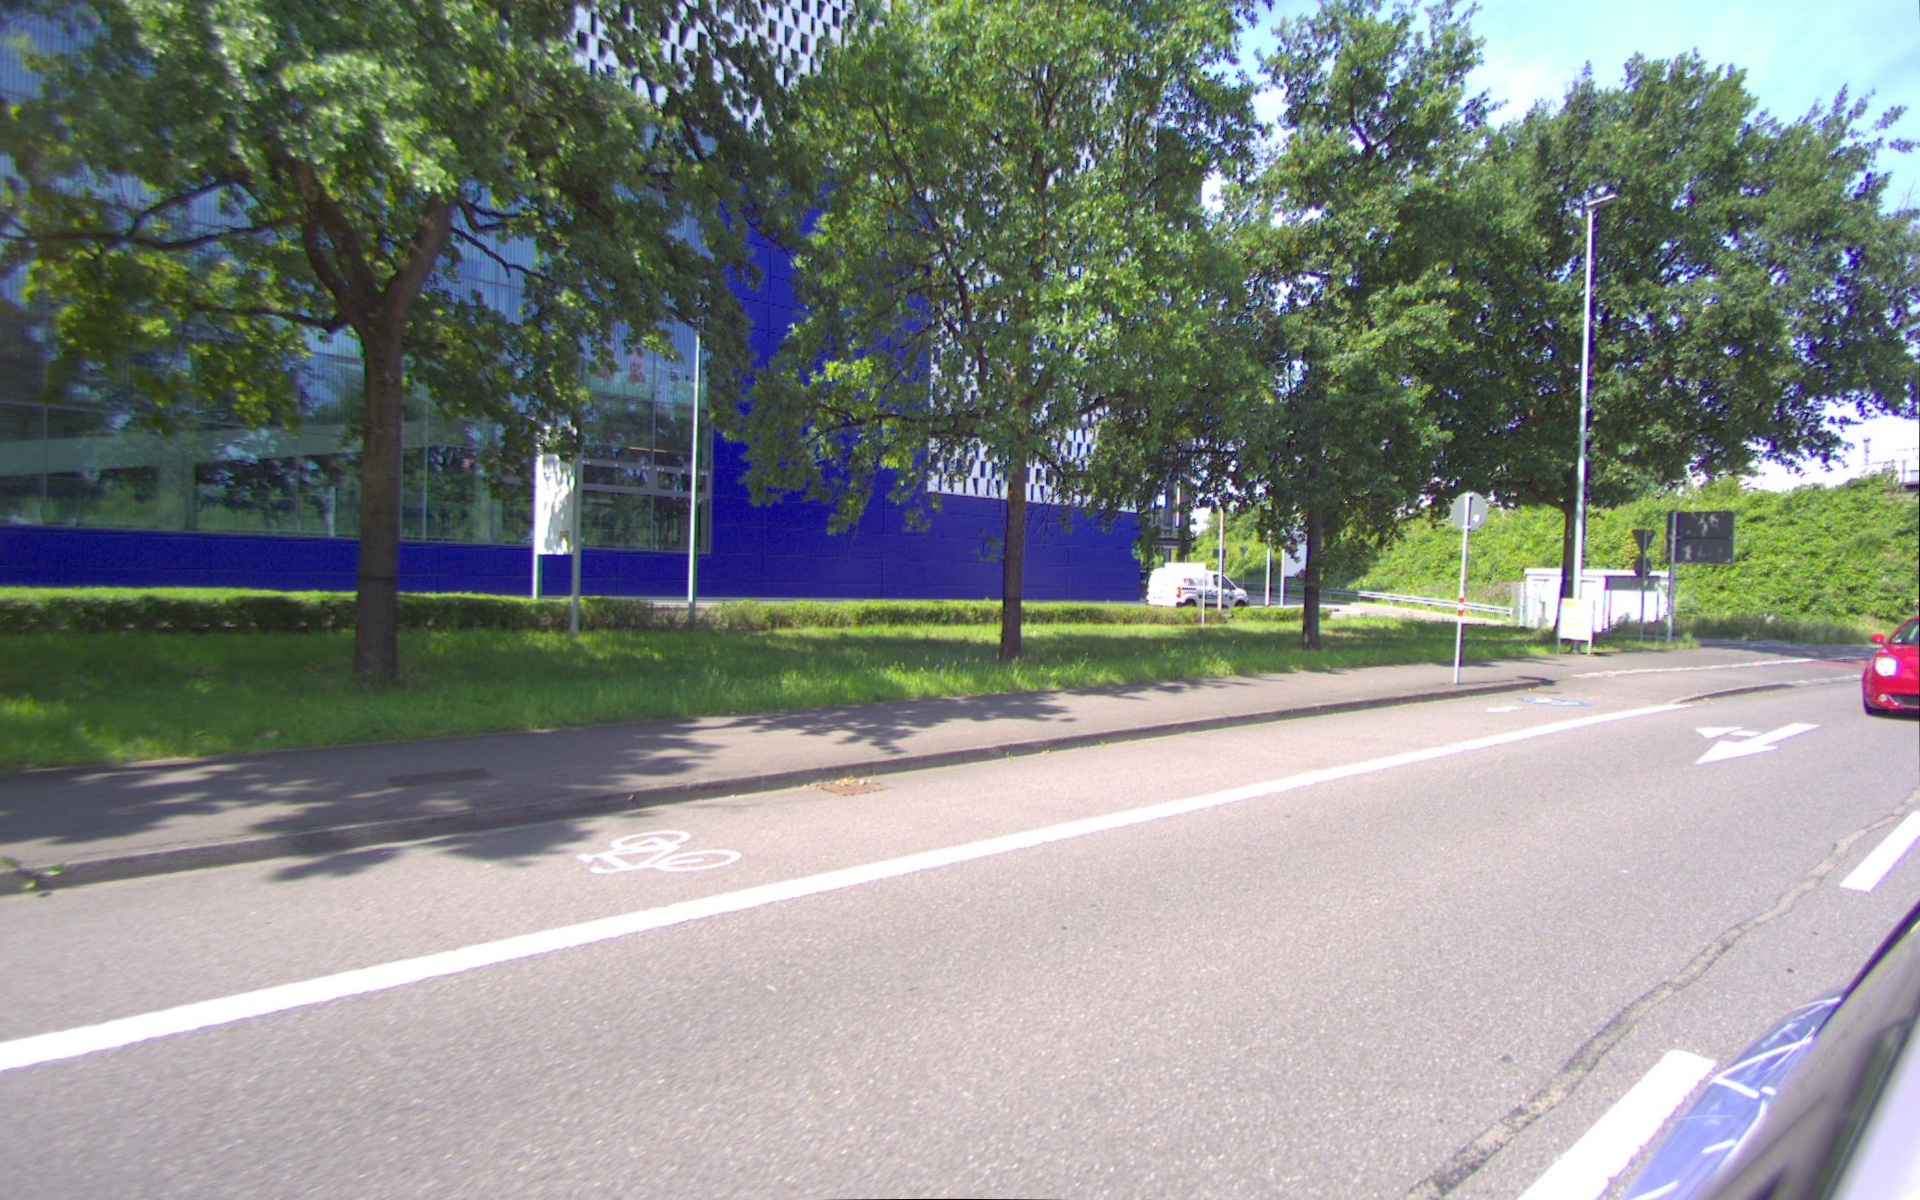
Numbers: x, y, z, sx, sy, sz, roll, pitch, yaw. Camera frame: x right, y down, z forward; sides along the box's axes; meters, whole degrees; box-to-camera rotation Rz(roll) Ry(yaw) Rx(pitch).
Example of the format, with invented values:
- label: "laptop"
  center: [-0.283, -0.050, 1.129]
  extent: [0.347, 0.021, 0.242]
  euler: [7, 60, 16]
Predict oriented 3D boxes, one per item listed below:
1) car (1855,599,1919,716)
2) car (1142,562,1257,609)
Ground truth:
- label: "car"
  center: [14.019, 0.744, 13.852]
  extent: [3.904, 1.472, 1.799]
  euler: [0, 1, -35]
- label: "car"
  center: [9.027, -0.526, 38.071]
  extent: [4.221, 1.660, 1.857]
  euler: [0, 0, -34]
